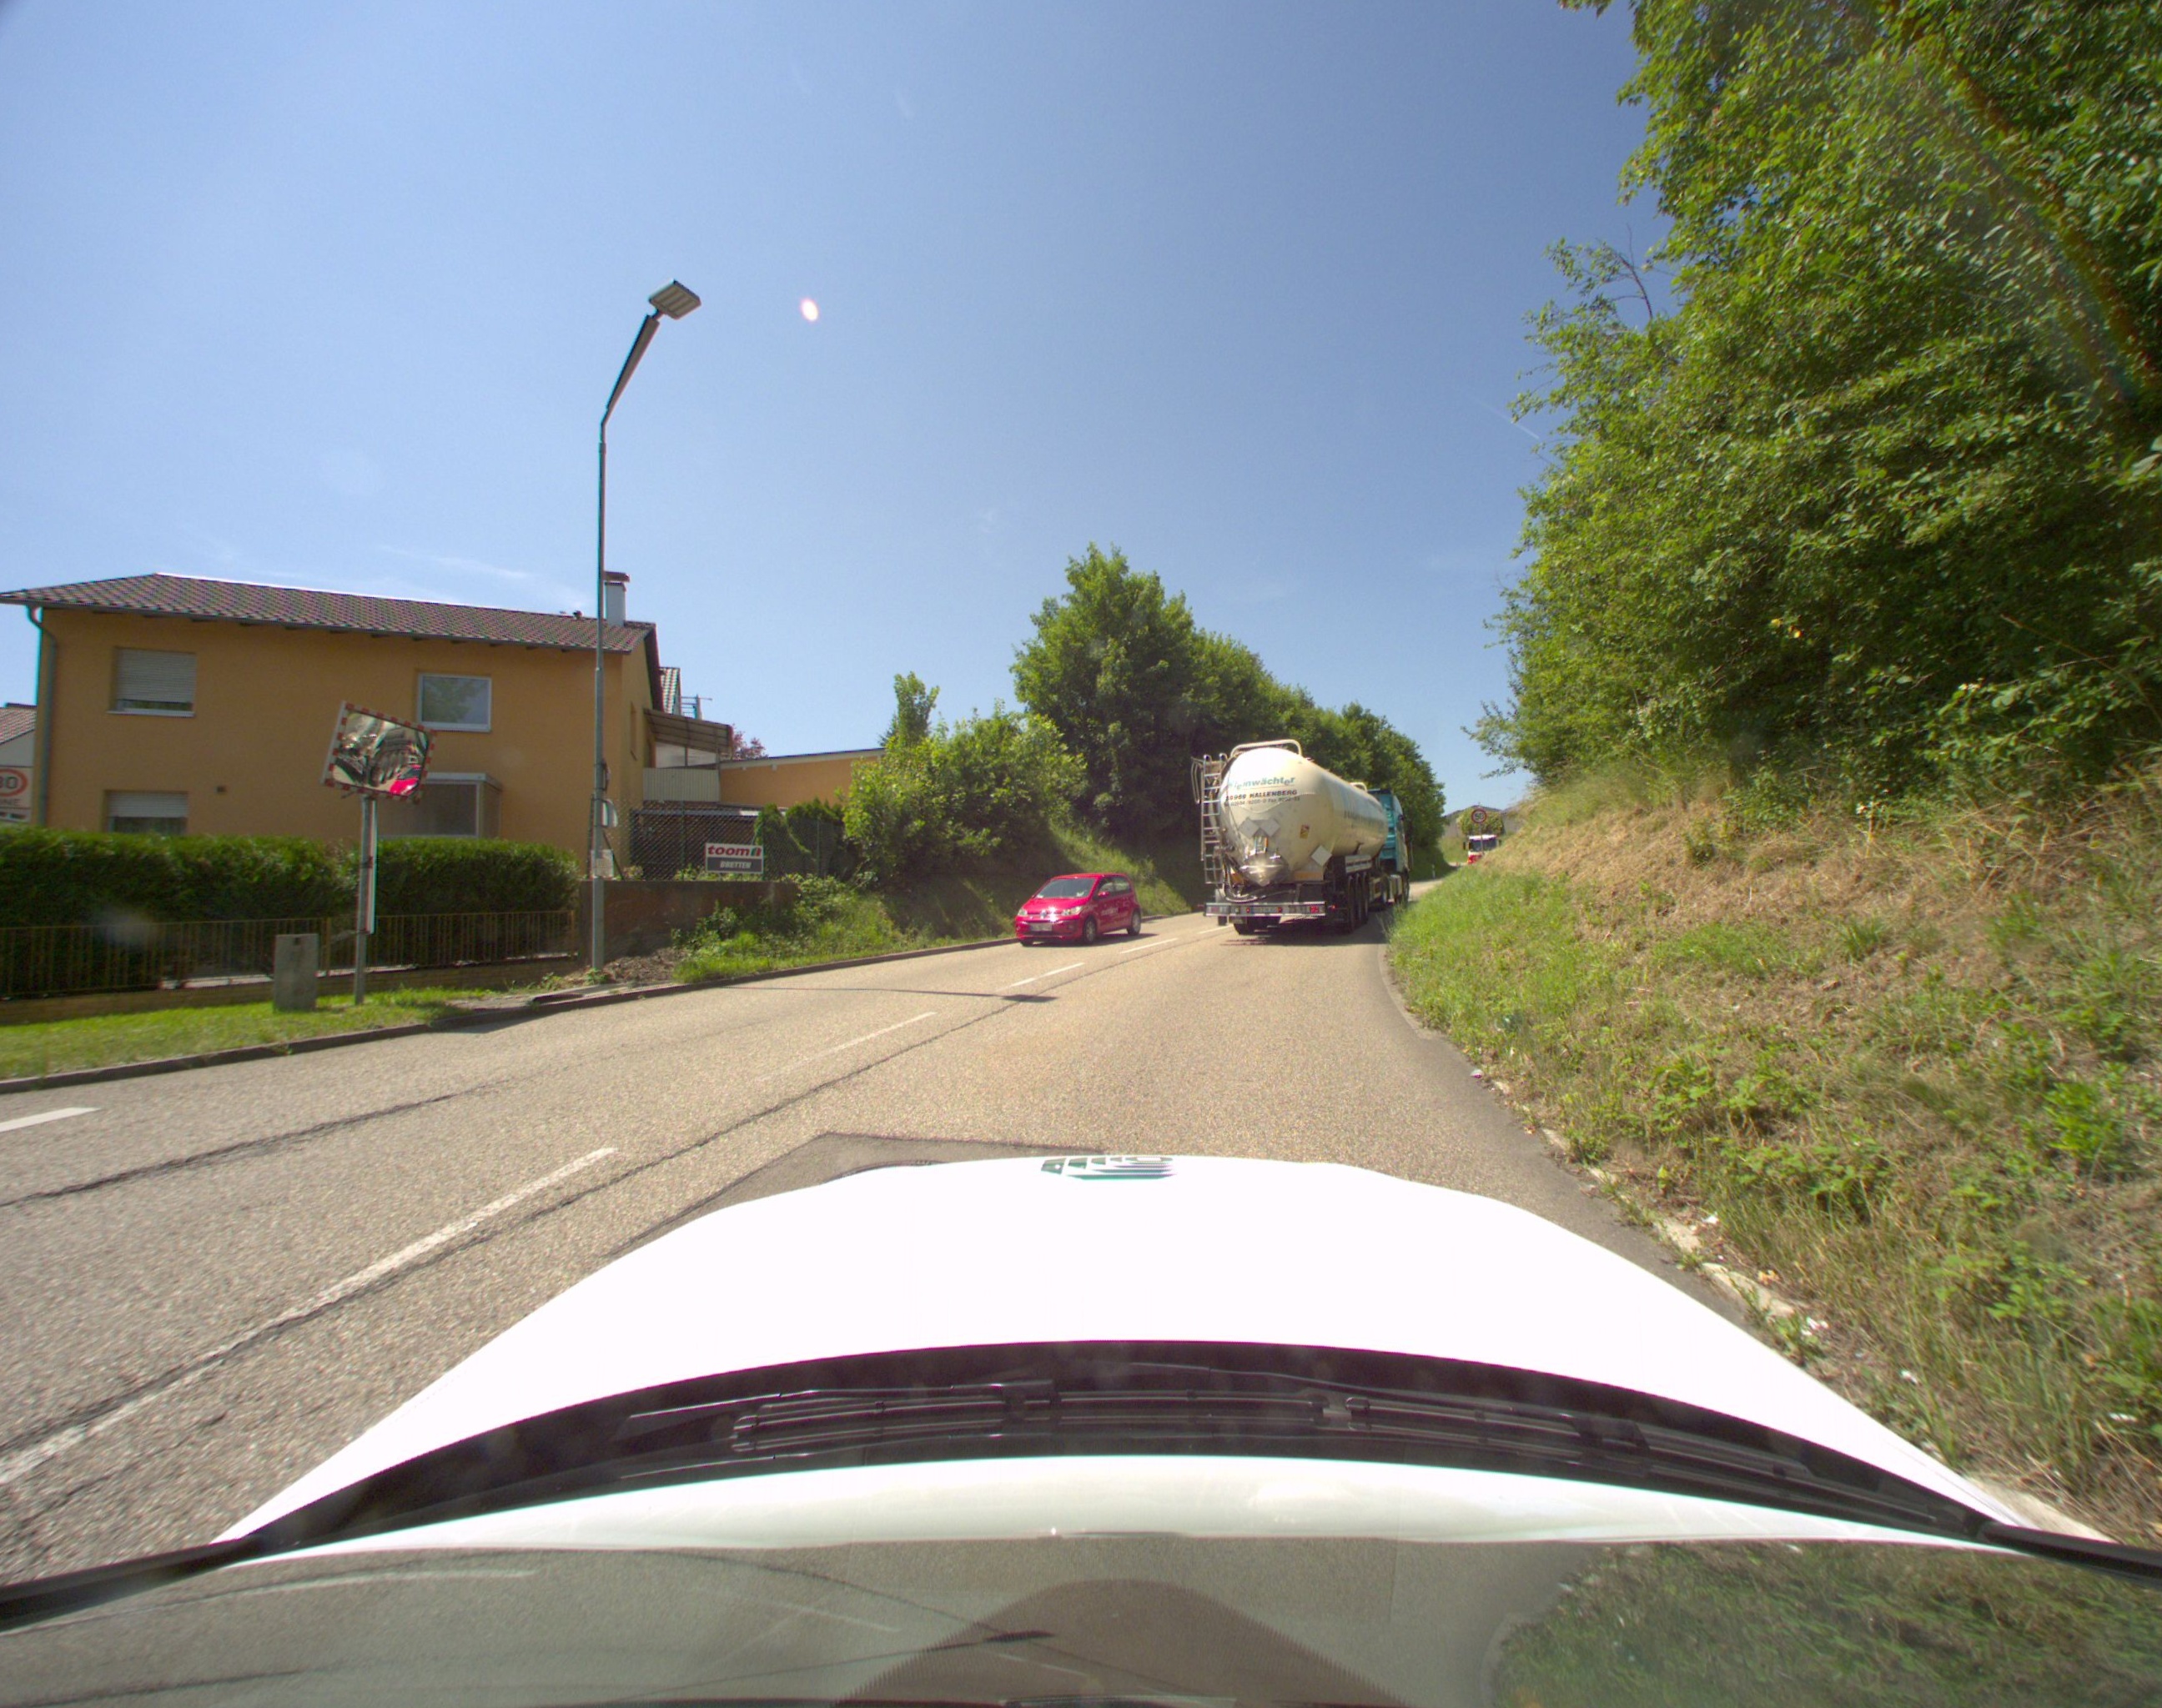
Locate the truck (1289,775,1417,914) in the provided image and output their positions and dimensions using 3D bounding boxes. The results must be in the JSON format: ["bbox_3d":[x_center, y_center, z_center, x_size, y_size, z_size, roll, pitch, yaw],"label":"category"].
[{"bbox_3d":[9.182,-0.197,26.933,2.701,3.930,7.306,-3,-2,28],"label":"truck"}]

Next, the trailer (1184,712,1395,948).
[{"bbox_3d":[5.852,-0.362,20.411,2.636,4.189,11.973,-3,-1,26],"label":"trailer"}]

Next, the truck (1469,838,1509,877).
[{"bbox_3d":[35.310,0.327,70.361,2.601,3.171,7.111,-3,-2,29],"label":"truck"}]

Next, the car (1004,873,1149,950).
[{"bbox_3d":[0.007,1.195,17.935,1.640,1.458,3.658,-3,-2,27],"label":"car"}]
